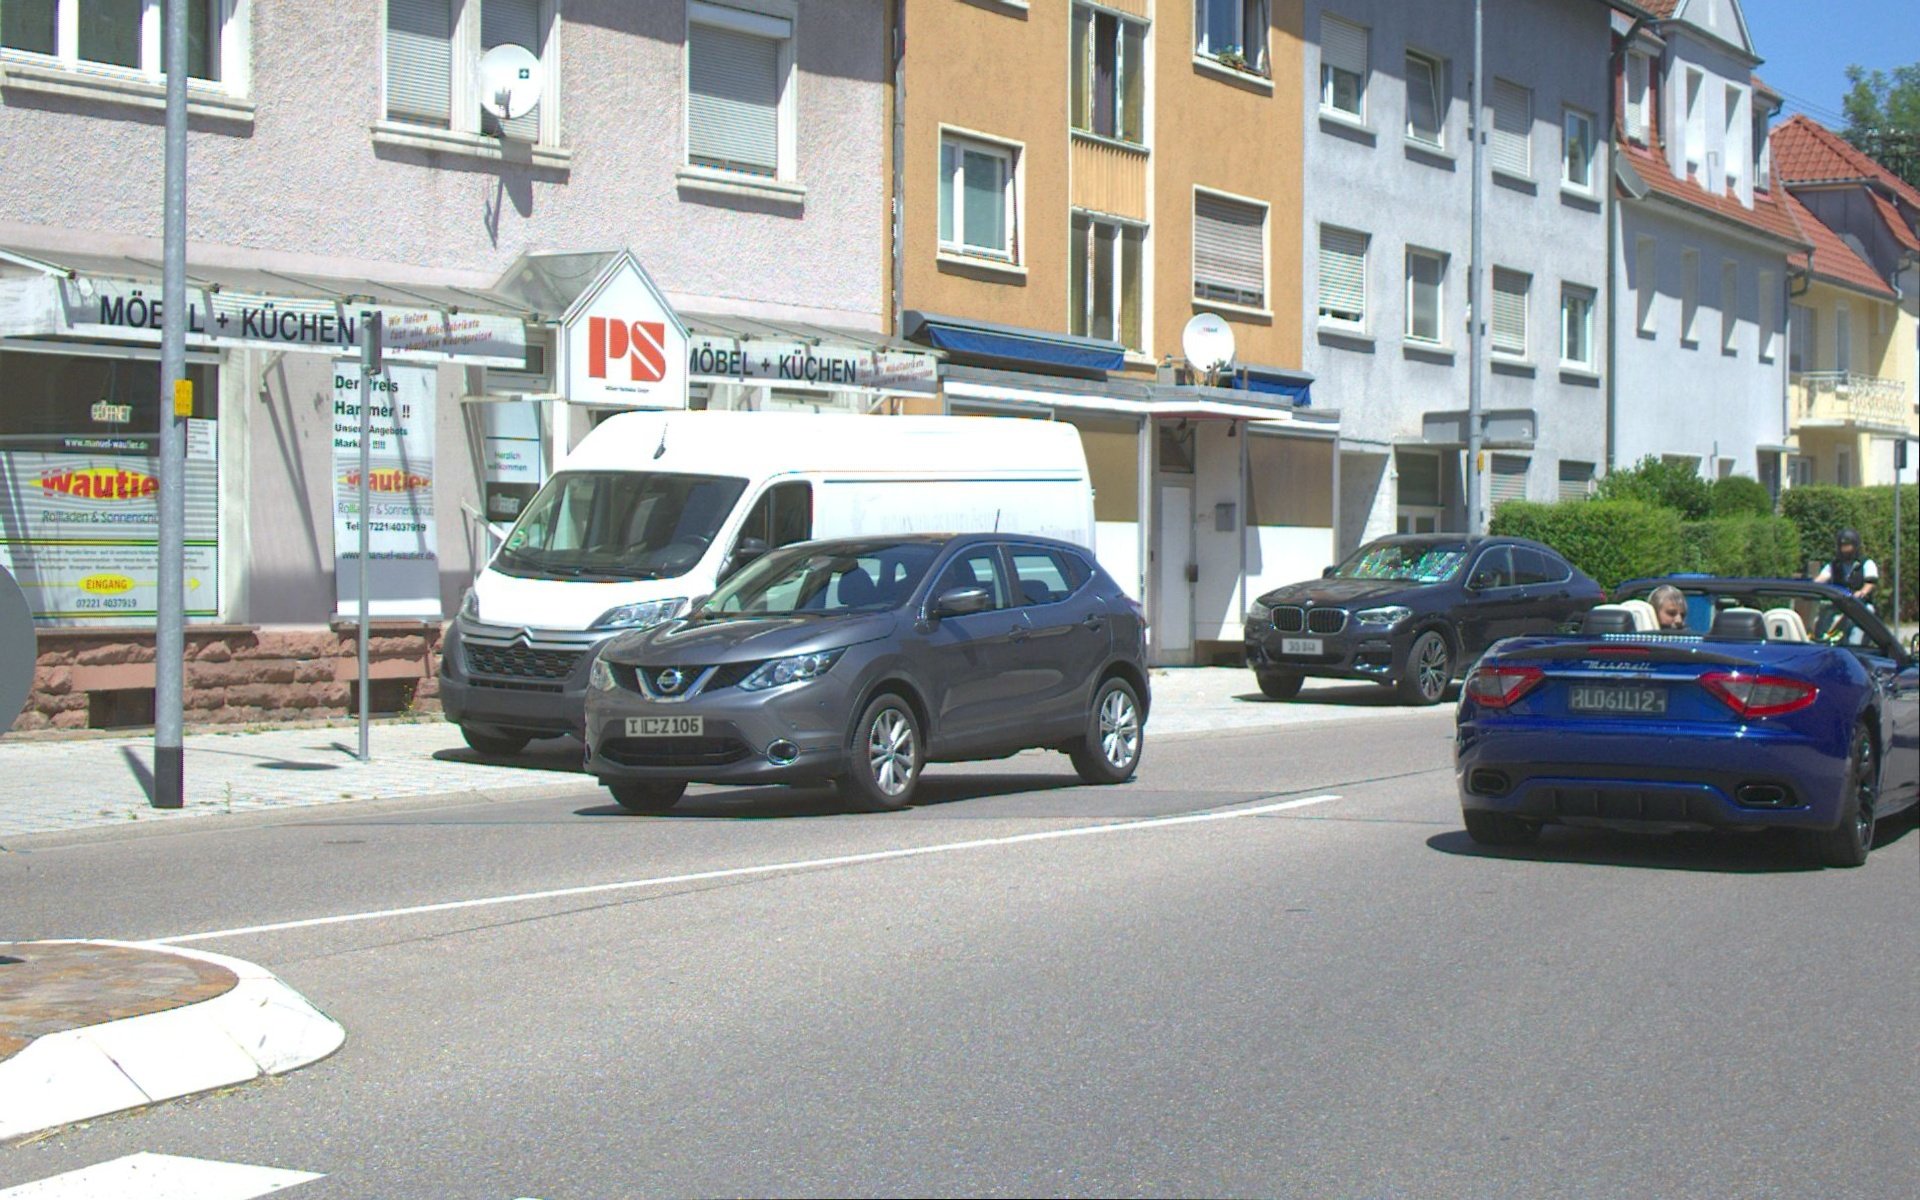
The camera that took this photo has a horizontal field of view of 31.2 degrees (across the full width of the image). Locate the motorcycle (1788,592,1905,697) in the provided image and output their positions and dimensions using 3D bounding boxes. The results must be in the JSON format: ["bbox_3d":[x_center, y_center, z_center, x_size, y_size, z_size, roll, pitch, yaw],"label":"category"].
[{"bbox_3d":[8.857,0.431,34.309,0.607,0.997,1.796,0,1,33],"label":"motorcycle"}]

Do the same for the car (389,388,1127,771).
[{"bbox_3d":[-1.277,-0.201,25.256,2.123,2.441,6.106,3,2,33],"label":"car"}]

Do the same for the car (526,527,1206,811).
[{"bbox_3d":[-0.428,0.378,20.311,1.799,1.484,4.382,-1,-1,34],"label":"car"}]

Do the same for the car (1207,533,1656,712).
[{"bbox_3d":[4.824,0.157,34.576,2.090,1.609,5.097,3,3,39],"label":"car"}]

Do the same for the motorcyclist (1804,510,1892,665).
[{"bbox_3d":[8.866,-0.131,34.331,0.602,1.519,0.894,0,1,32],"label":"motorcyclist"}]

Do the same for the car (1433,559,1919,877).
[{"bbox_3d":[3.948,0.517,17.499,1.873,1.337,4.590,2,1,23],"label":"car"}]

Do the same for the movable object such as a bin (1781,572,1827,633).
[{"bbox_3d":[12.893,0.032,52.511,0.495,0.908,0.705,0,1,30],"label":"movable object such as a bin"}]

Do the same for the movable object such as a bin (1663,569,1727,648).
[{"bbox_3d":[9.852,0.115,46.069,0.674,1.044,0.651,0,1,30],"label":"movable object such as a bin"}]
